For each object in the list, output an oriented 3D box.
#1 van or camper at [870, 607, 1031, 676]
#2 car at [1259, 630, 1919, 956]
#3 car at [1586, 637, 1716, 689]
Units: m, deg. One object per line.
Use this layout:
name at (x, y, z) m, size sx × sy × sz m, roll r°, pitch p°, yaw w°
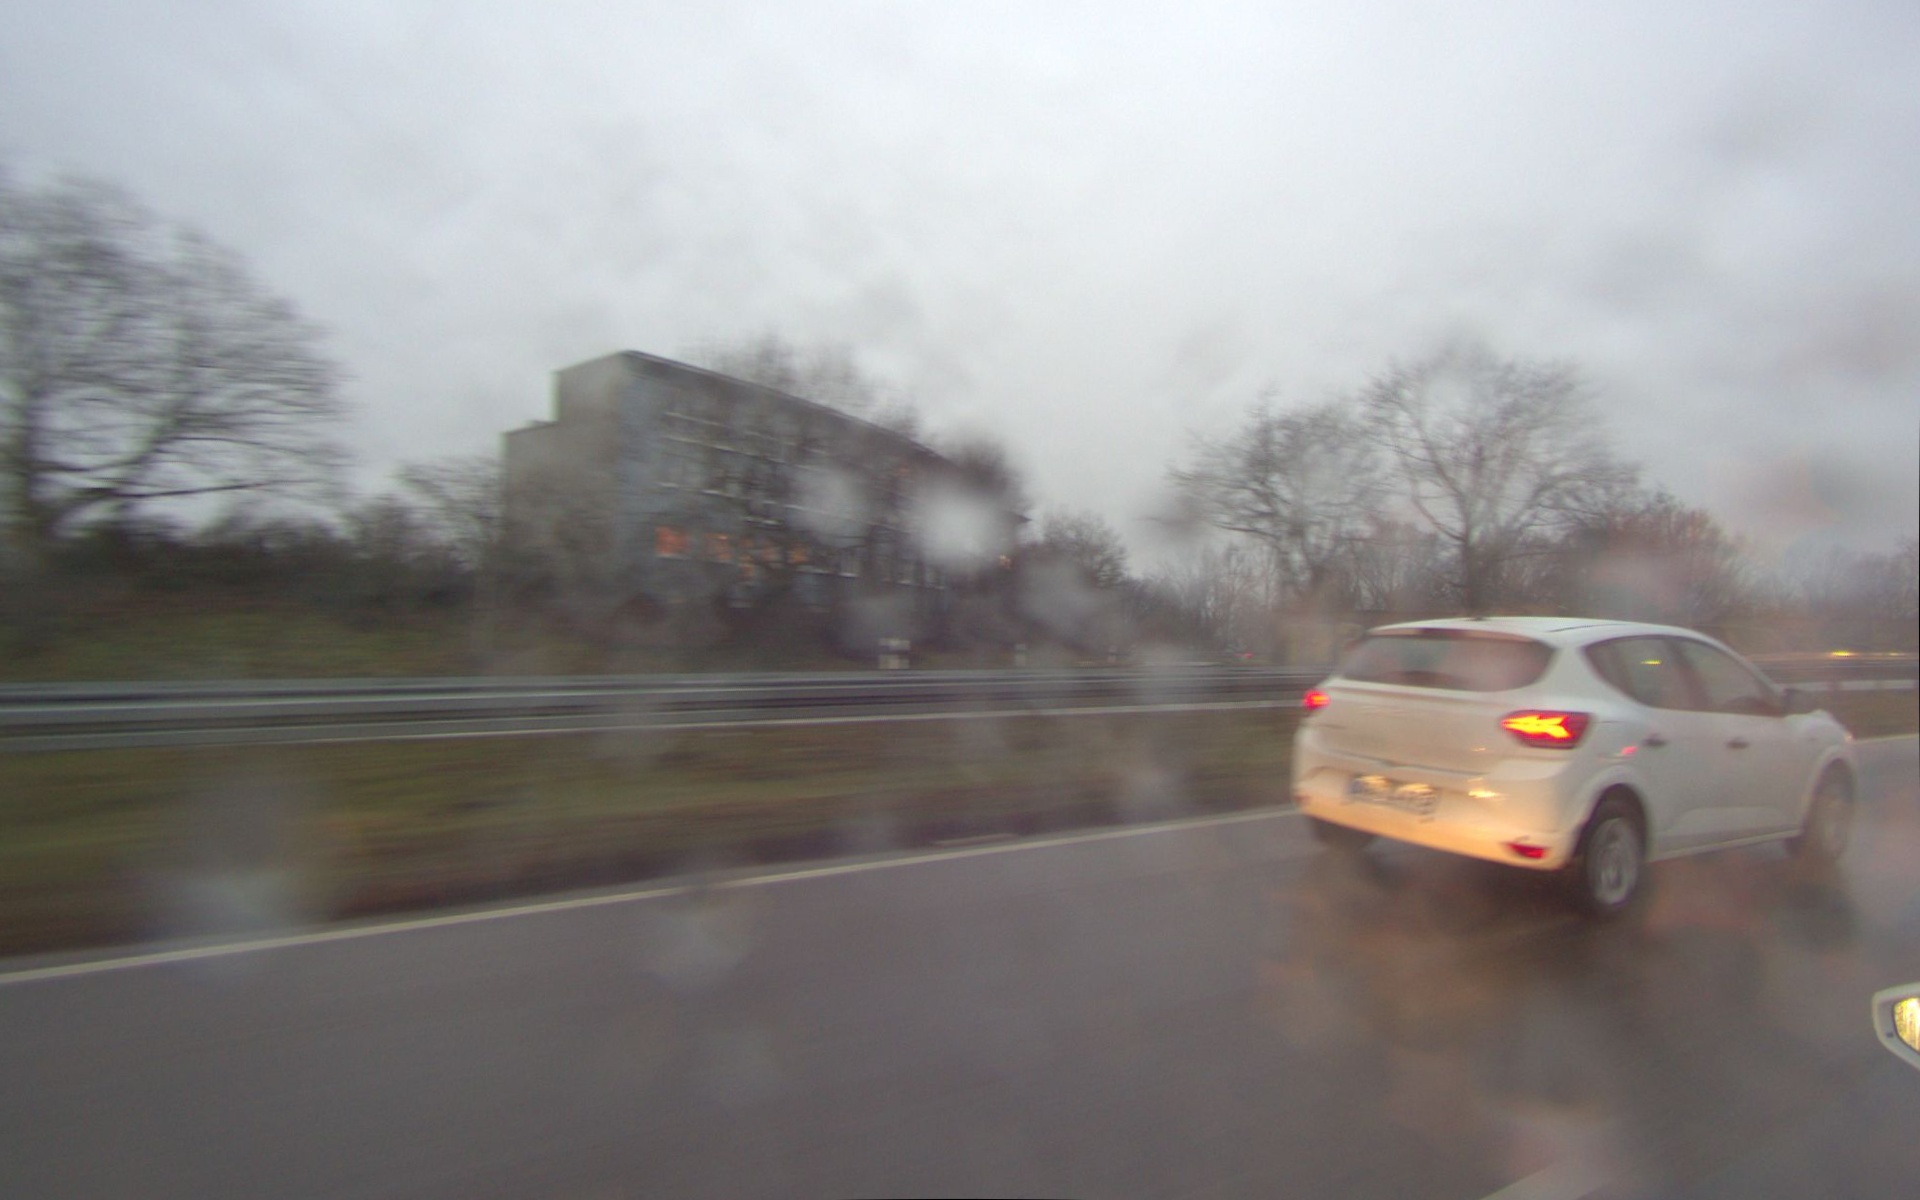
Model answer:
van or camper at (-0.244, 1.165, 27.951) m, size 4.155 × 1.807 × 1.643 m, roll 2°, pitch -1°, yaw -28°
car at (4.049, 0.942, 6.300) m, size 4.172 × 1.459 × 1.717 m, roll 1°, pitch -1°, yaw -28°
car at (22.186, 2.007, 32.221) m, size 4.001 × 1.553 × 1.777 m, roll 2°, pitch -1°, yaw -28°
